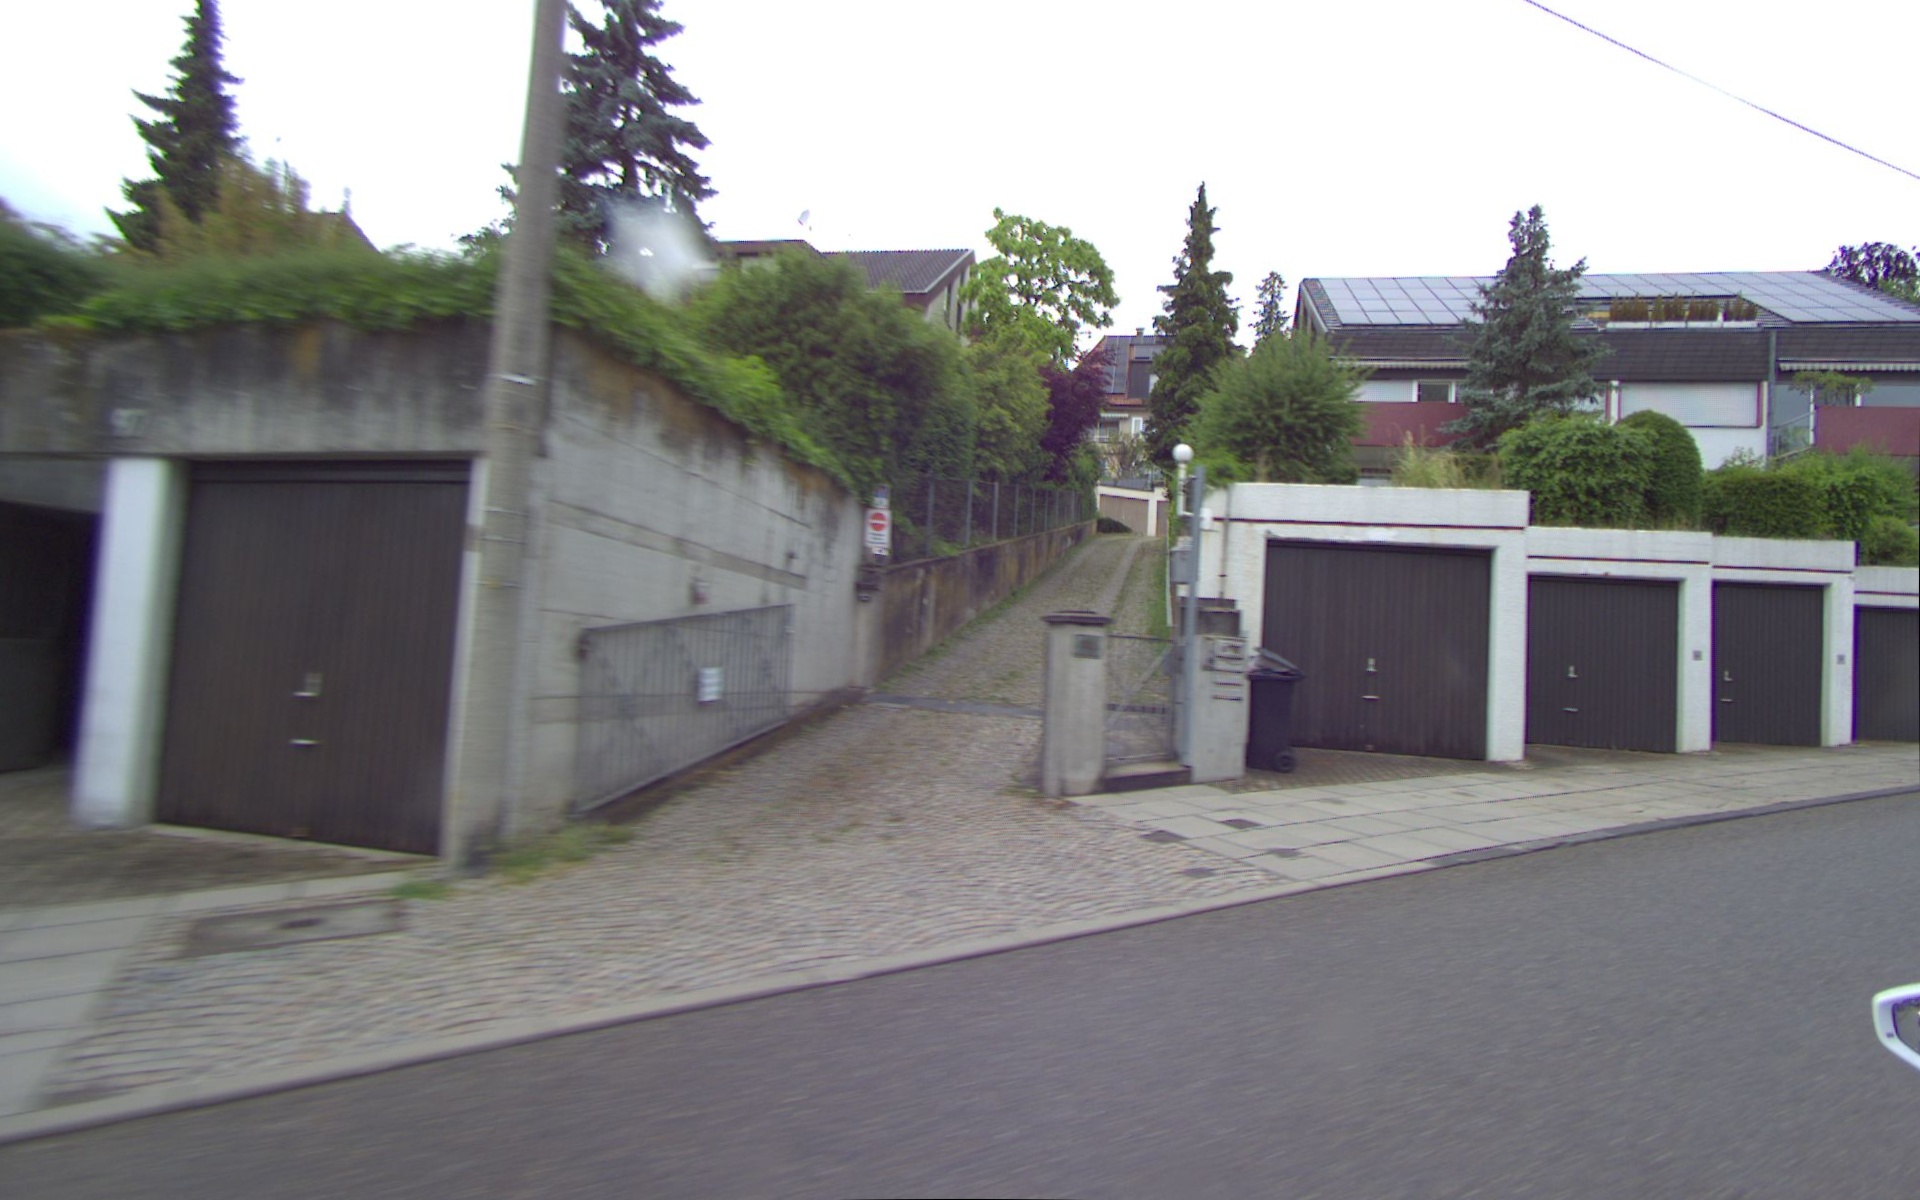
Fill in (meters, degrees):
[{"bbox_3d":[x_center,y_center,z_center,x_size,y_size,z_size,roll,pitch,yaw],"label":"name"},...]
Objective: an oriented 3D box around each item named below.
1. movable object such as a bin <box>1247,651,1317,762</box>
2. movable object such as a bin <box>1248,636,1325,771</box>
[{"bbox_3d":[3.155,1.031,9.883,0.589,1.005,0.610,1,0,13],"label":"movable object such as a bin"},{"bbox_3d":[3.006,0.934,9.288,0.589,1.161,0.529,2,0,13],"label":"movable object such as a bin"}]
